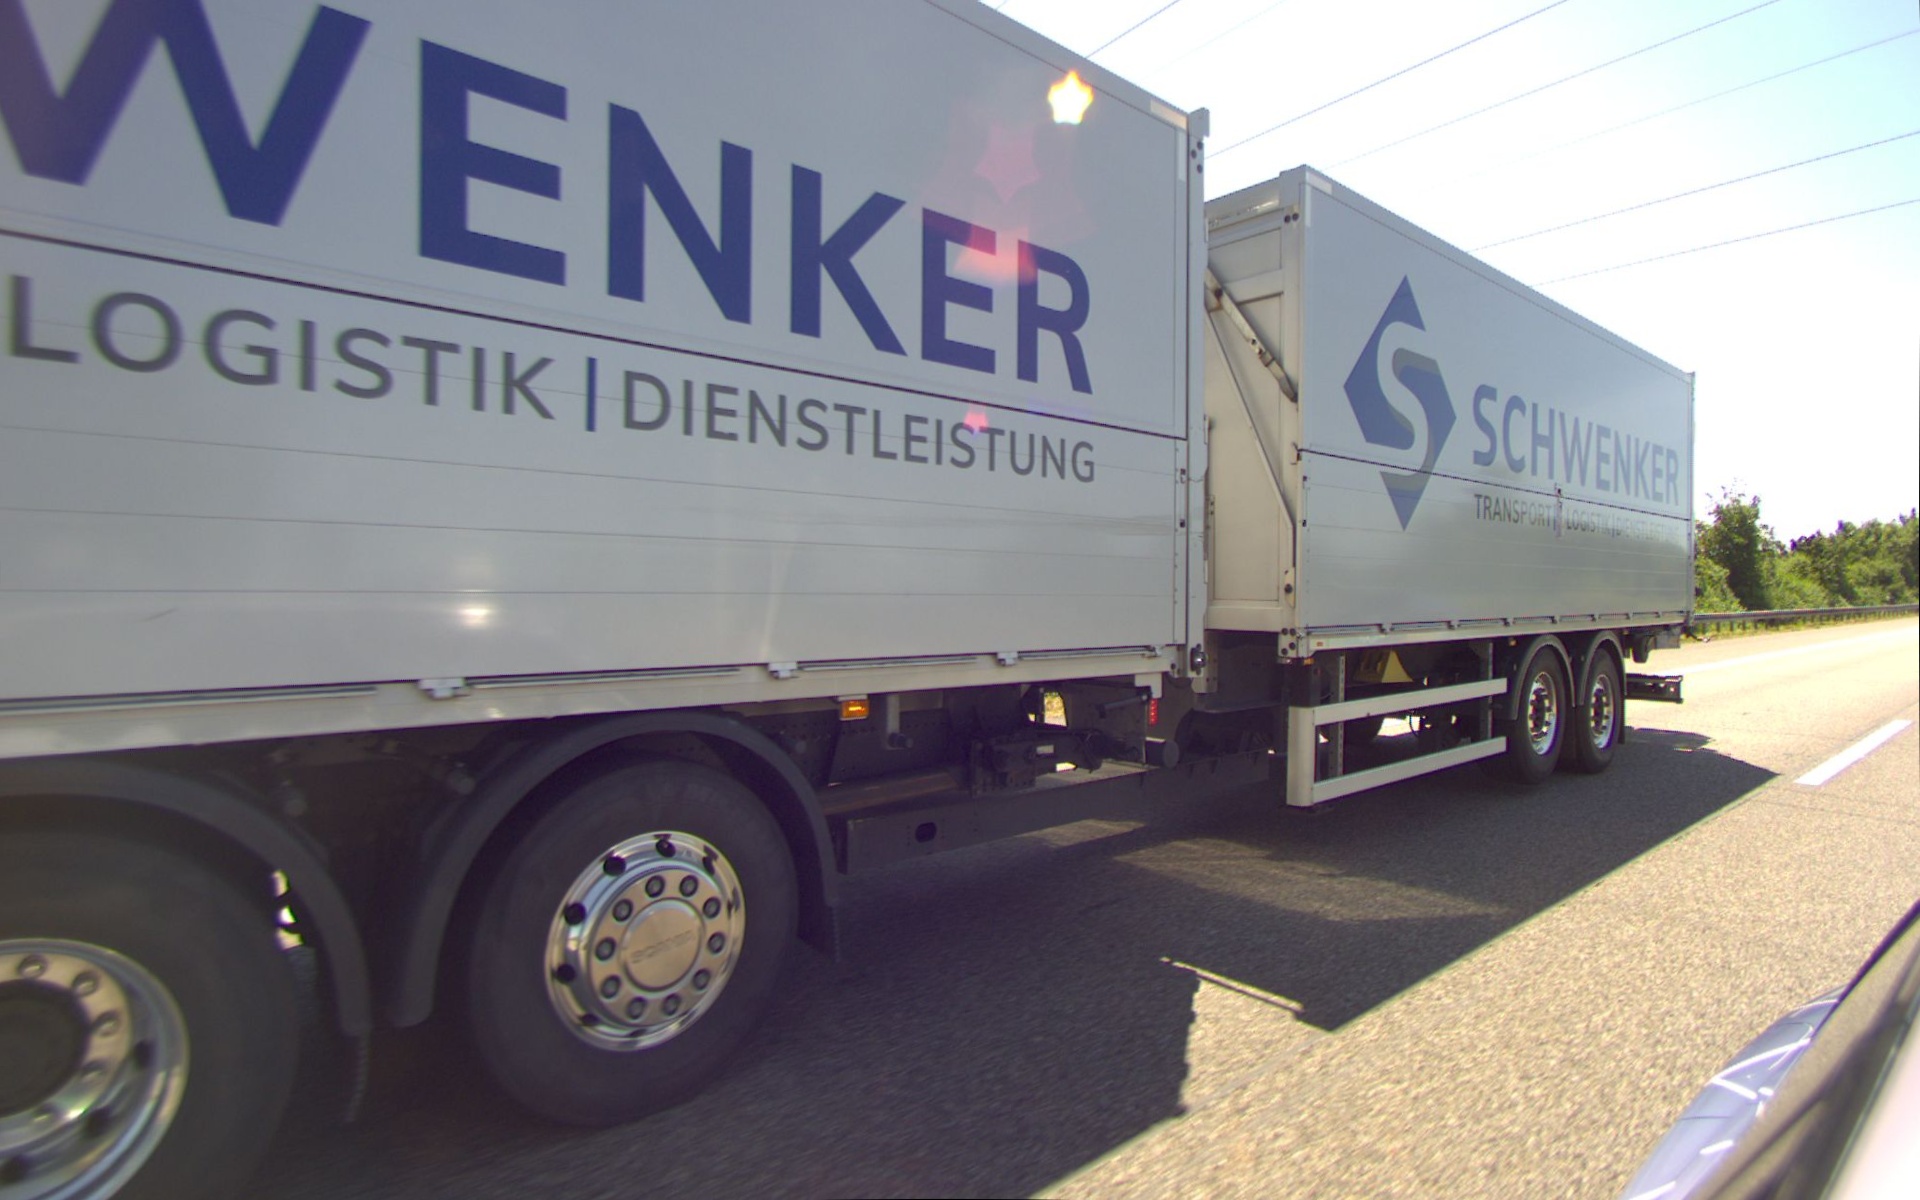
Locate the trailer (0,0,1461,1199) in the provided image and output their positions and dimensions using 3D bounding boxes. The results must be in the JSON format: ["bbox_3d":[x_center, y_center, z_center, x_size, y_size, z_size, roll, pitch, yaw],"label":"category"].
[{"bbox_3d":[-0.749,-0.645,4.609,7.190,4.092,2.925,-1,0,-41],"label":"trailer"}]

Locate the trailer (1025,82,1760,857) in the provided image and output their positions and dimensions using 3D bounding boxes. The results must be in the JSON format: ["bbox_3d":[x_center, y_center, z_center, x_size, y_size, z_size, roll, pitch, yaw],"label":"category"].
[{"bbox_3d":[4.454,-0.745,9.137,7.987,4.114,2.950,-1,0,-41],"label":"trailer"}]
